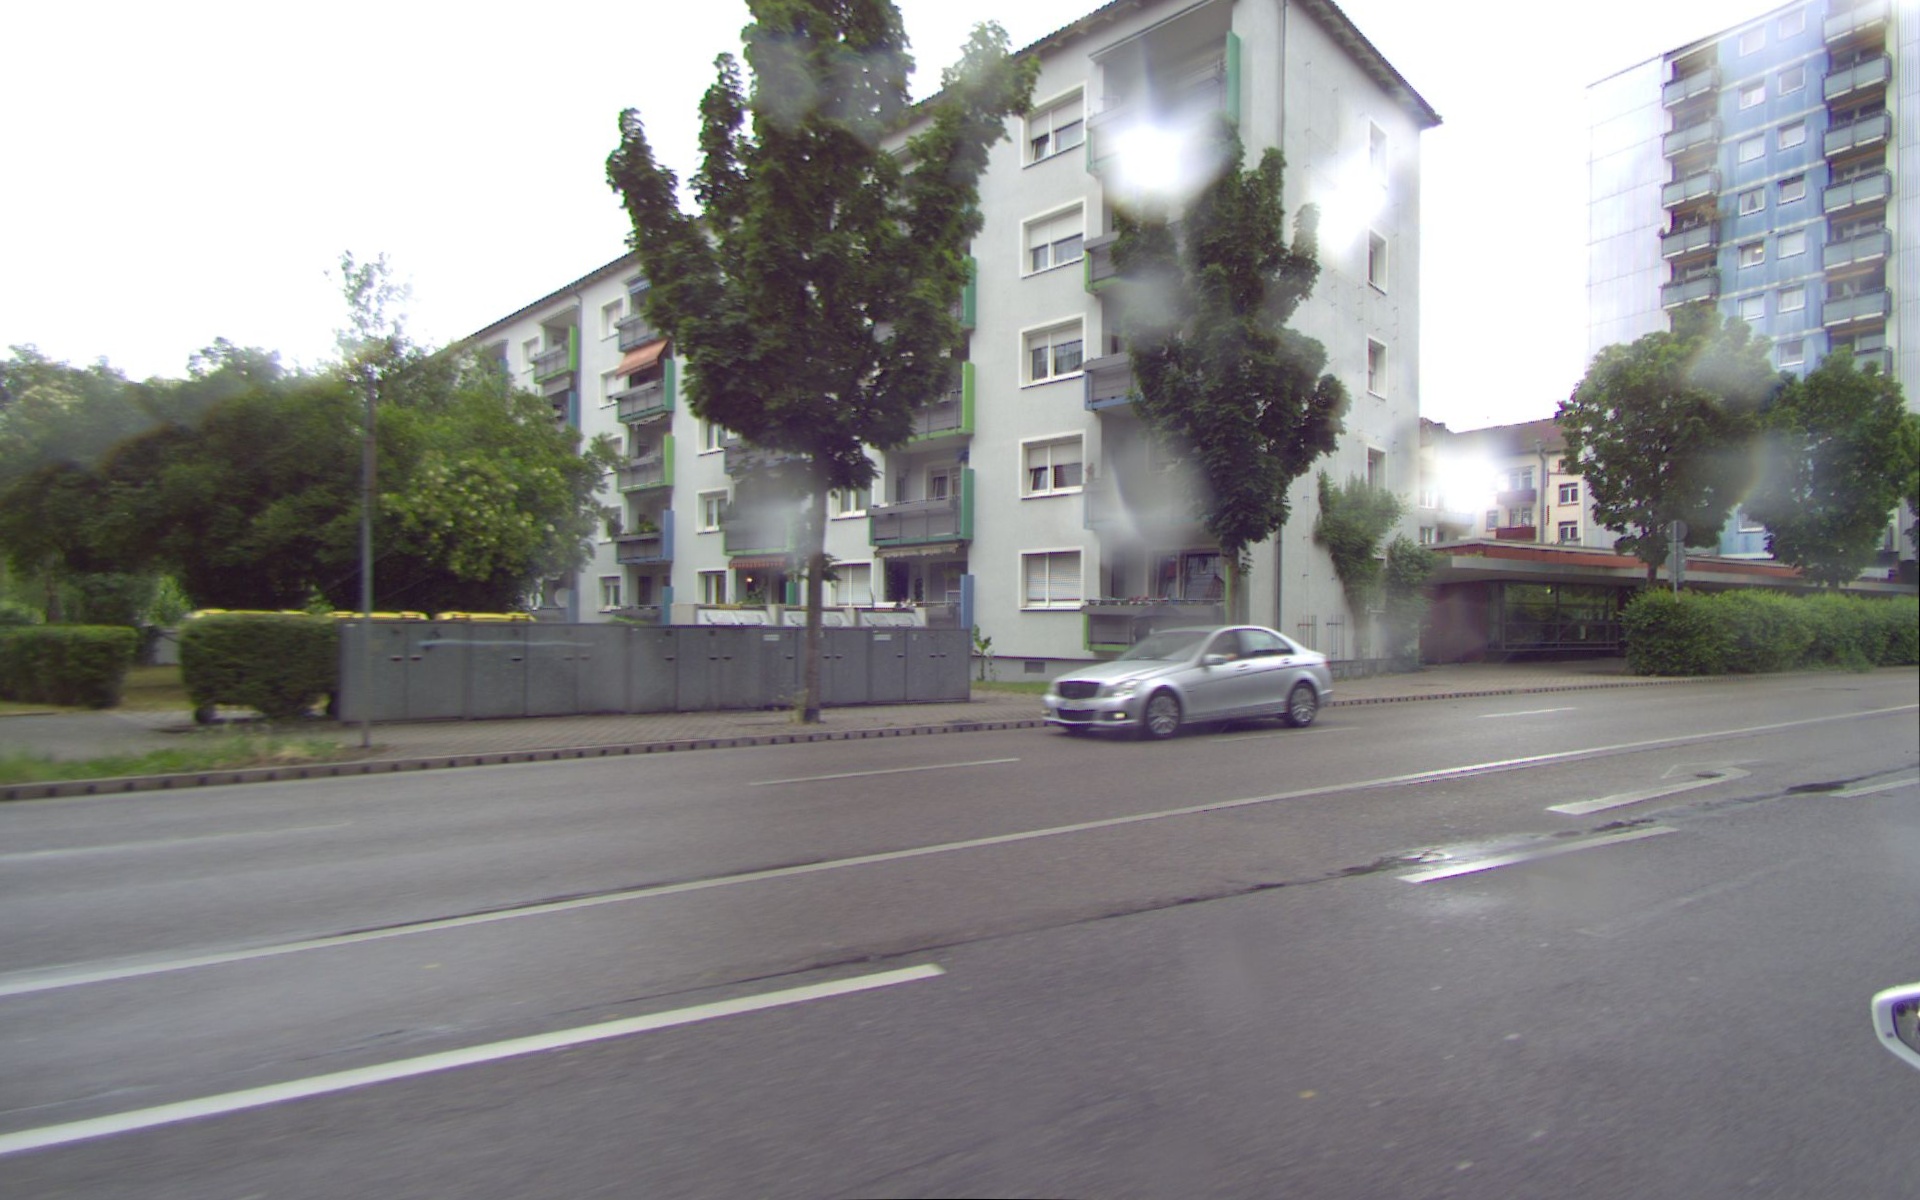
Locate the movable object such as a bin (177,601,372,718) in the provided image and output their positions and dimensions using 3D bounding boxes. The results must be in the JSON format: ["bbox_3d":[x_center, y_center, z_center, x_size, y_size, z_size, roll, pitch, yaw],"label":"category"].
[{"bbox_3d":[-8.577,0.709,12.619,1.948,1.349,1.149,1,-1,-37],"label":"movable object such as a bin"}]

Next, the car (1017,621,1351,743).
[{"bbox_3d":[3.151,1.020,13.736,4.580,1.409,1.862,1,-3,-35],"label":"car"}]

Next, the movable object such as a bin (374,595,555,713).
[{"bbox_3d":[-6.858,0.712,13.924,2.068,1.504,1.206,1,-1,-37],"label":"movable object such as a bin"}]

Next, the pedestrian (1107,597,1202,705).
[{"bbox_3d":[3.459,0.888,17.897,1.250,1.828,1.127,1,-1,-34],"label":"pedestrian"}]
